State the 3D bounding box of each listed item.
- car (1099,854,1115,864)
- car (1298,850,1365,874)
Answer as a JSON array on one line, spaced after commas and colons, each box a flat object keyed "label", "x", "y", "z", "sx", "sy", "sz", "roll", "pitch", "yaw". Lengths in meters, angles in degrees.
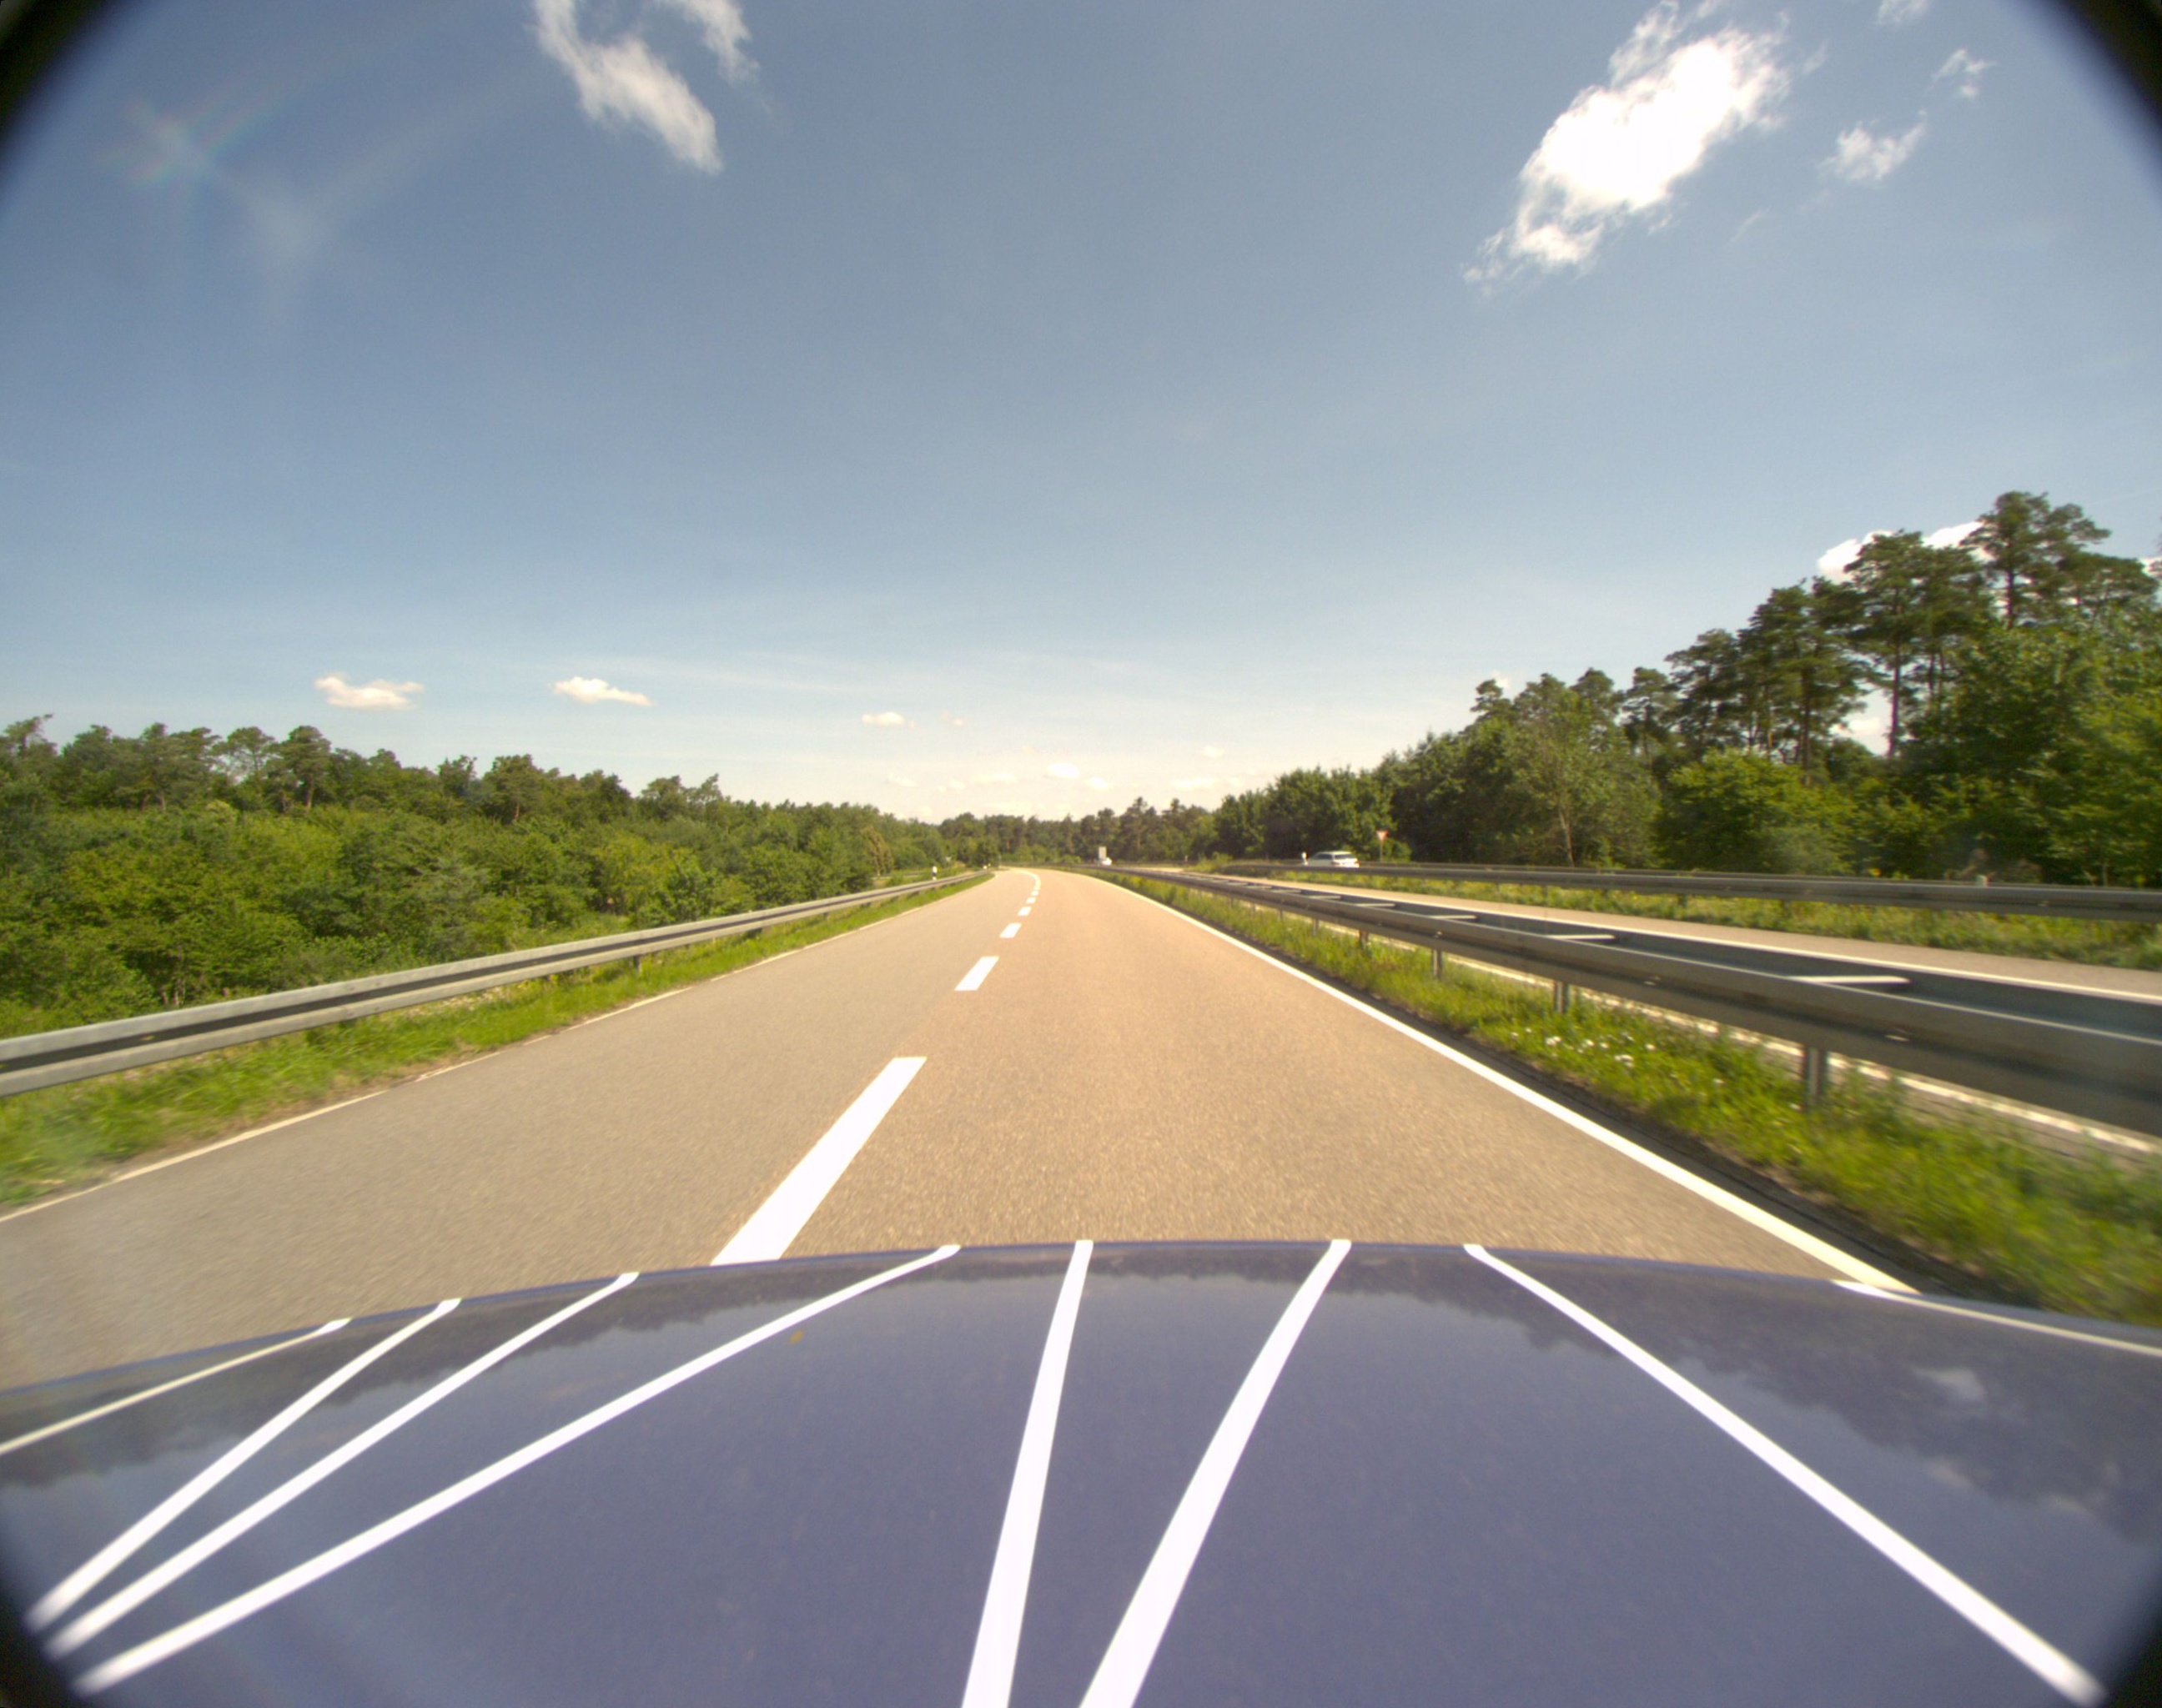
[{"label": "car", "x": 3.907, "y": 0.752, "z": 115.270, "sx": 1.684, "sy": 1.419, "sz": 4.208, "roll": -2, "pitch": 0, "yaw": -9}, {"label": "car", "x": 15.746, "y": 0.454, "z": 48.093, "sx": 1.954, "sy": 1.405, "sz": 4.829, "roll": -1, "pitch": 0, "yaw": -10}]
